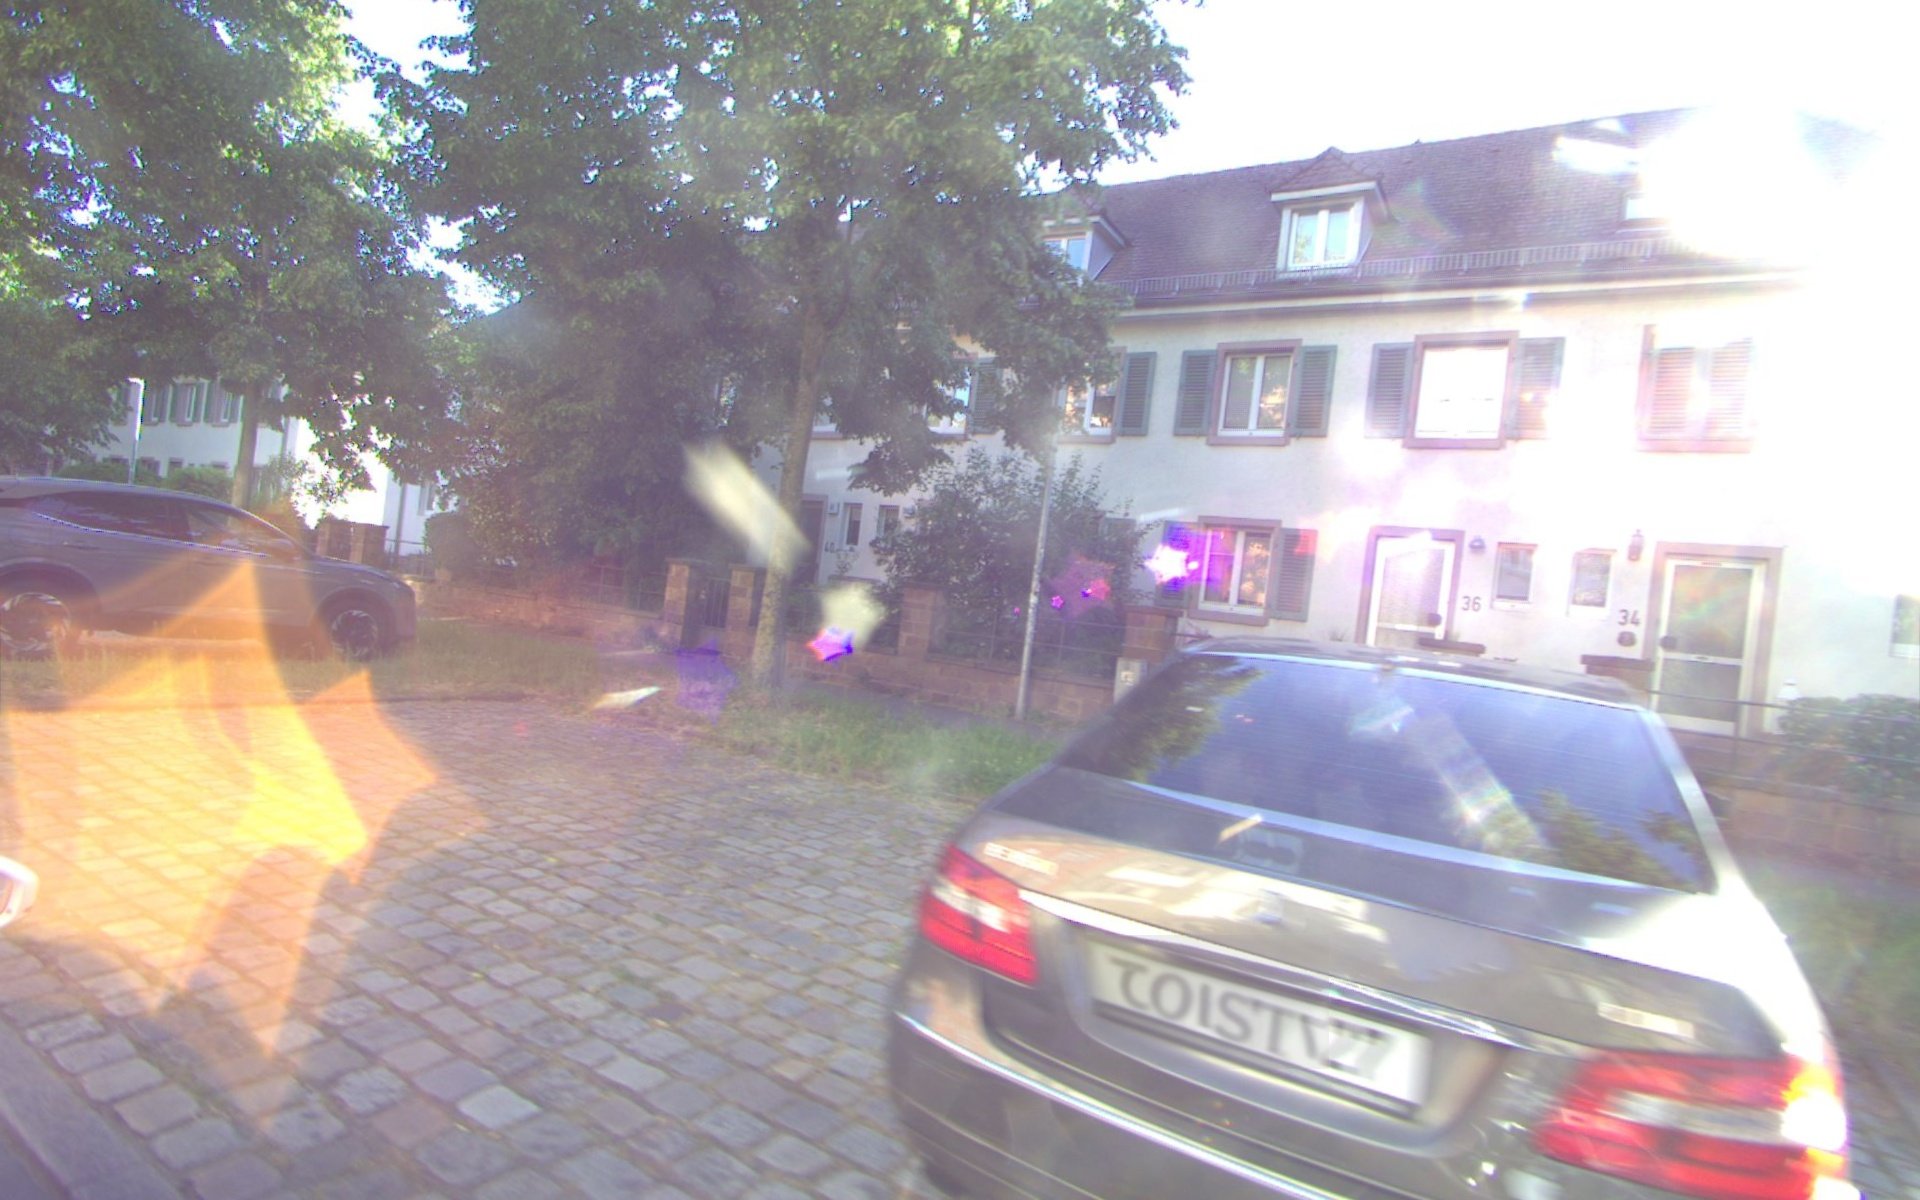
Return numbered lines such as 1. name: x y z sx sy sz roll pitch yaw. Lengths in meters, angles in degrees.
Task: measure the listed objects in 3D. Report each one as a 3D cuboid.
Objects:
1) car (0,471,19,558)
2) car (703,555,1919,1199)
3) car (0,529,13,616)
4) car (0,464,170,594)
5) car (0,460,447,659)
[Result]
1. car: -20.130 -1.786 18.197 1.663 1.655 4.270 7 2 35
2. car: 1.530 0.838 3.598 1.862 1.560 4.840 7 2 30
3. car: -18.102 -0.577 16.302 1.562 1.473 3.722 7 2 31
4. car: -14.024 -1.100 13.834 1.876 1.699 4.580 7 2 33
5. car: -7.943 -0.381 10.260 1.844 1.655 4.477 7 2 31
